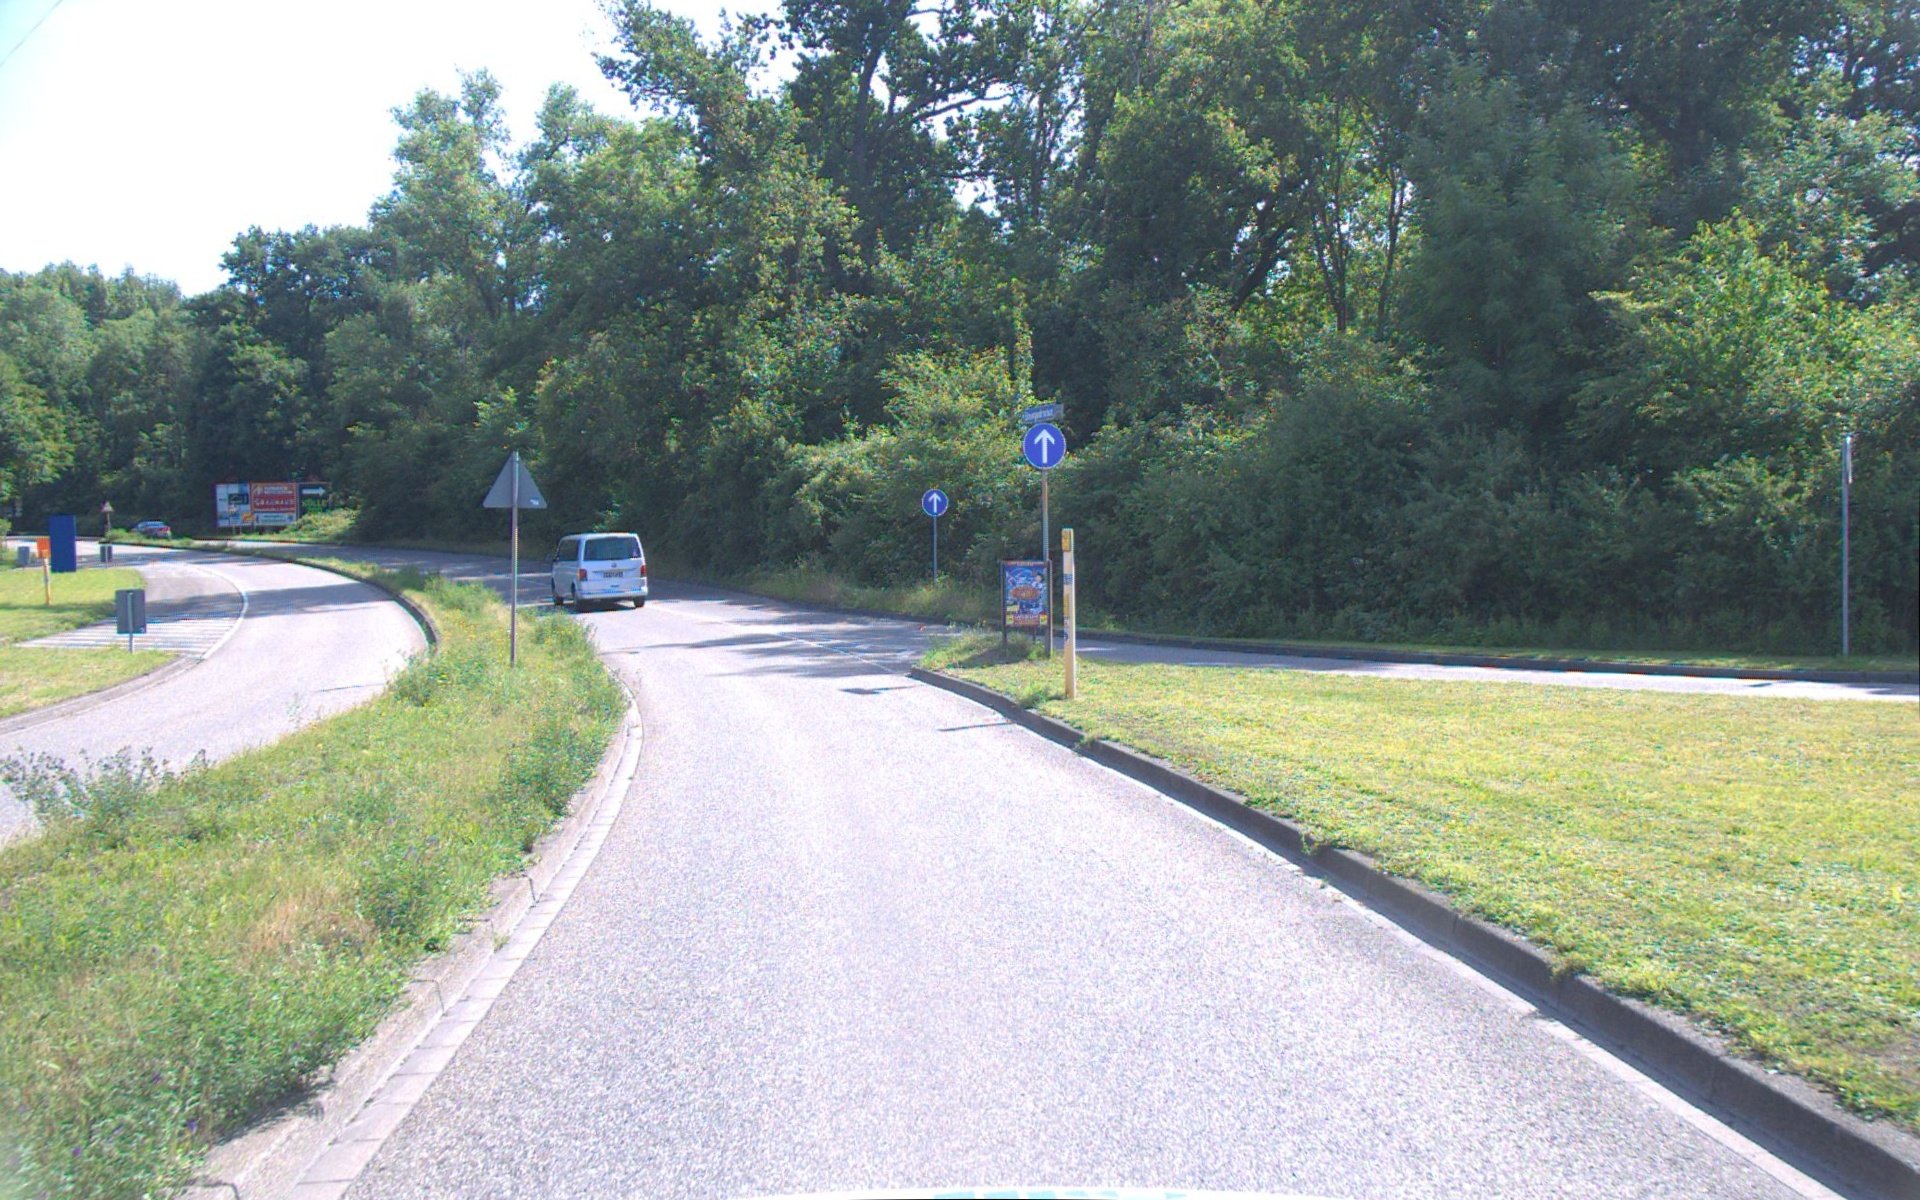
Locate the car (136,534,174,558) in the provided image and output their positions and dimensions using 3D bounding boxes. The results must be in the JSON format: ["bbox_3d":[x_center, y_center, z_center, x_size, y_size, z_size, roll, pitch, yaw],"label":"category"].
[{"bbox_3d":[-58.687,-3.955,120.524,1.637,1.593,3.605,-4,5,-40],"label":"car"}]

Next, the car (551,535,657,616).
[{"bbox_3d":[-9.634,-0.668,44.569,2.012,2.048,3.971,-2,2,-24],"label":"car"}]
